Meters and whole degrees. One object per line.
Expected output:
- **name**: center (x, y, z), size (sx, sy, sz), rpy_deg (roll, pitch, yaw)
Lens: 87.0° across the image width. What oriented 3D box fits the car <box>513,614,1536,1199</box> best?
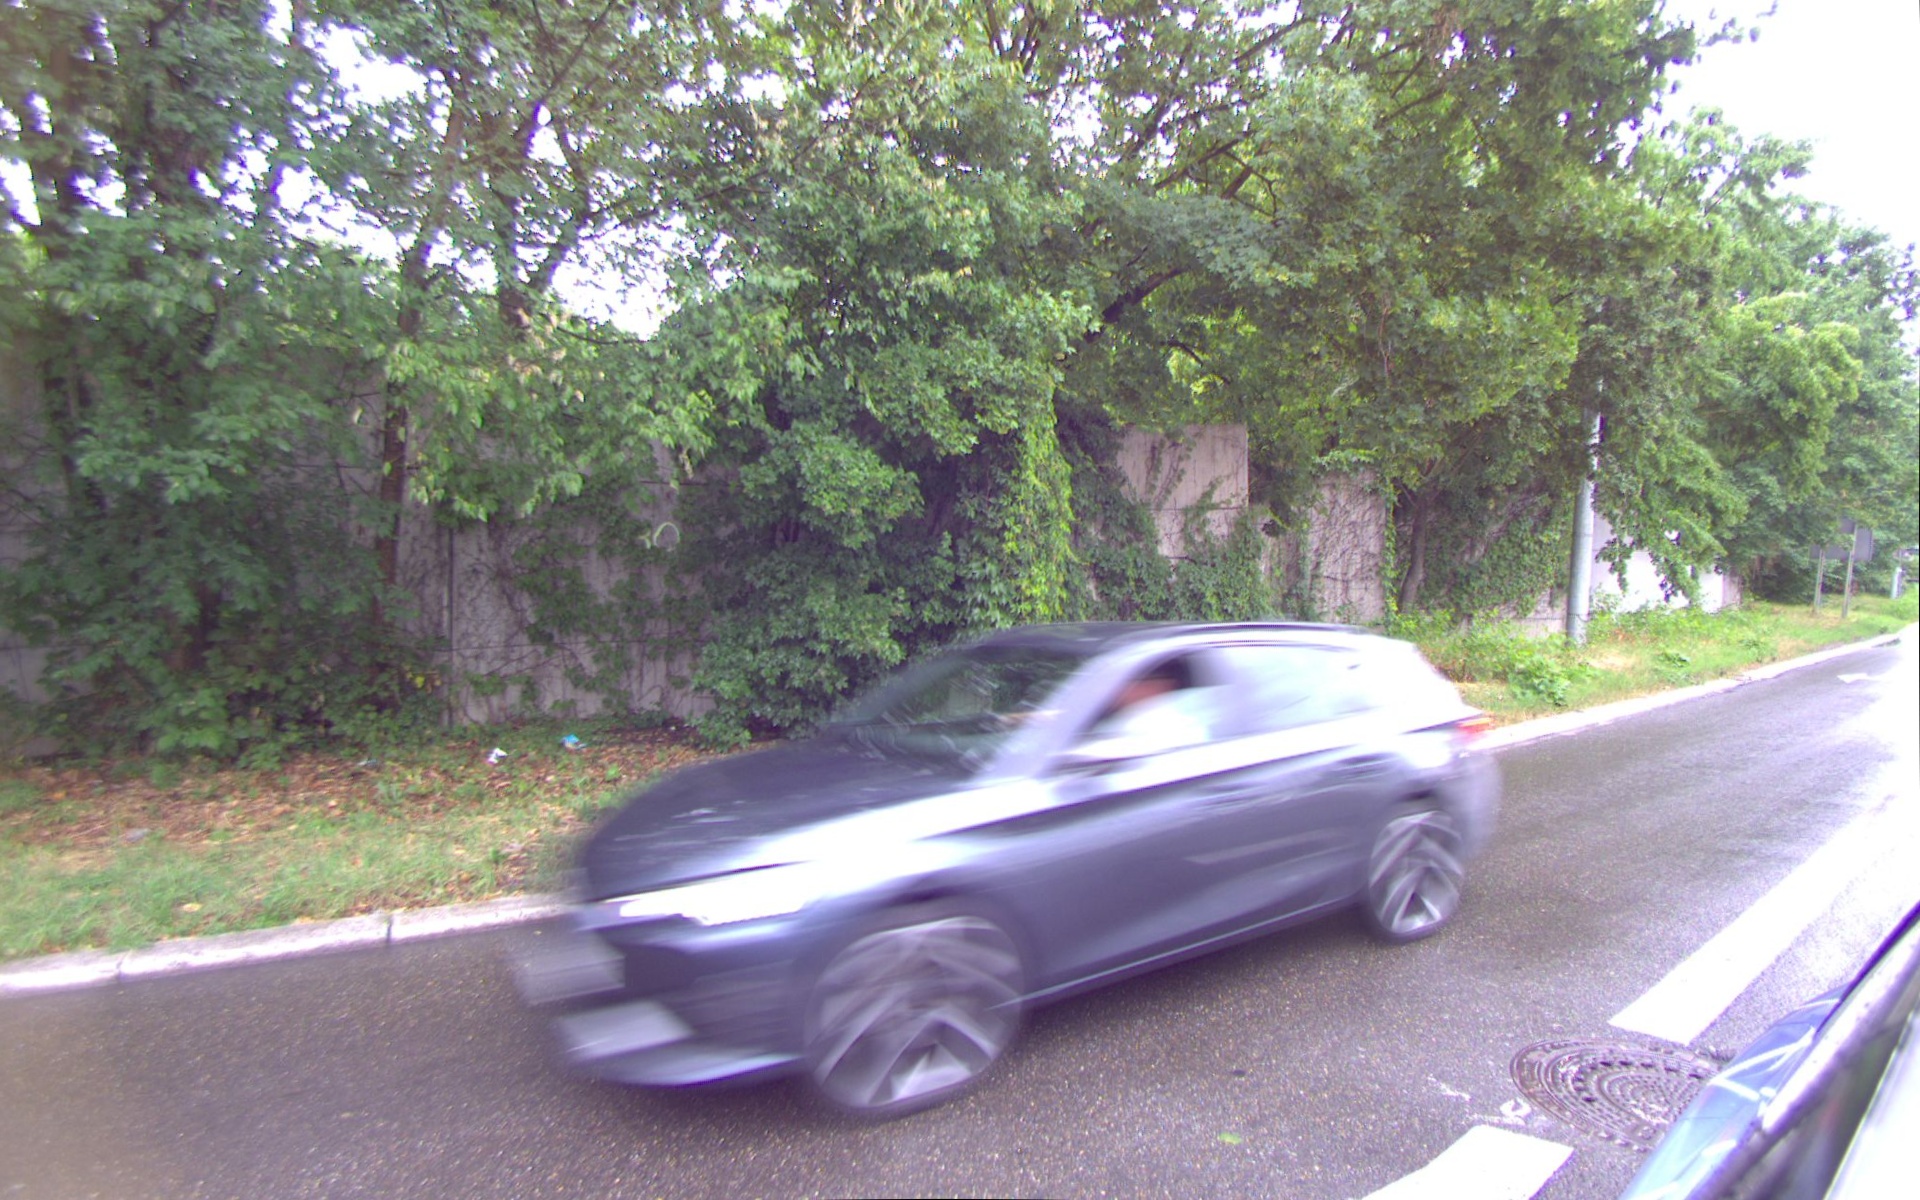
- **car**: center (0.543, 0.776, 4.435), size (4.330, 1.421, 1.754), rpy_deg (1, -1, -35)
